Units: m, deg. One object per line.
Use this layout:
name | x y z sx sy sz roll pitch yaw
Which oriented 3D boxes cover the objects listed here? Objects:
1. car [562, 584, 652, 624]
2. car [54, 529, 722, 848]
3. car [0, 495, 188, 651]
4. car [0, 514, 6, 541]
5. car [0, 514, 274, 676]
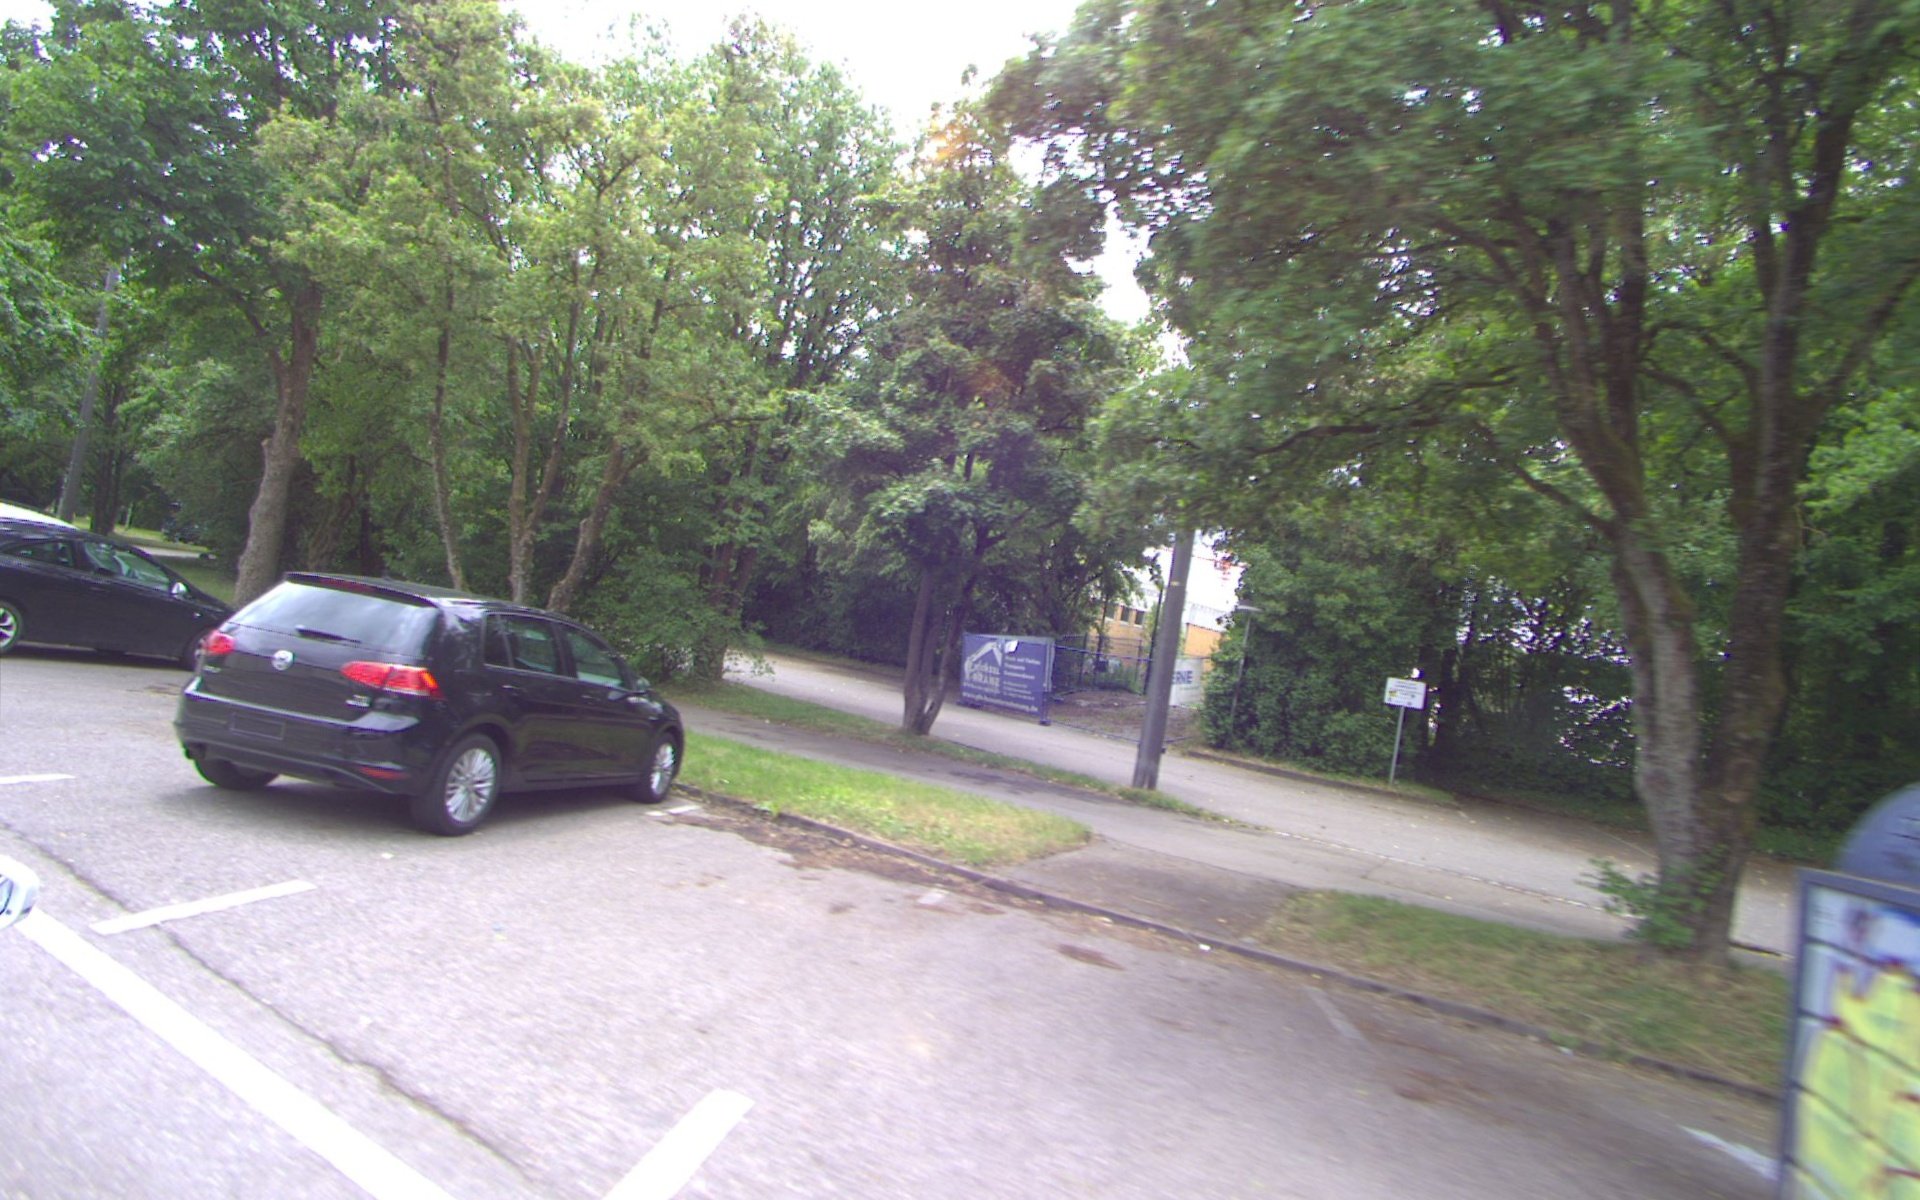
car | -18.093 0.216 51.721 1.772 1.425 3.993 7 -3 35
car | -3.603 0.696 7.406 2.018 1.427 4.013 8 -6 10
car | -12.774 -0.487 13.119 1.842 1.736 3.844 8 -6 10
car | -17.091 -1.001 14.903 1.713 1.543 3.844 8 -6 10
car | -10.470 -0.099 11.704 1.713 1.482 3.844 9 -5 11
